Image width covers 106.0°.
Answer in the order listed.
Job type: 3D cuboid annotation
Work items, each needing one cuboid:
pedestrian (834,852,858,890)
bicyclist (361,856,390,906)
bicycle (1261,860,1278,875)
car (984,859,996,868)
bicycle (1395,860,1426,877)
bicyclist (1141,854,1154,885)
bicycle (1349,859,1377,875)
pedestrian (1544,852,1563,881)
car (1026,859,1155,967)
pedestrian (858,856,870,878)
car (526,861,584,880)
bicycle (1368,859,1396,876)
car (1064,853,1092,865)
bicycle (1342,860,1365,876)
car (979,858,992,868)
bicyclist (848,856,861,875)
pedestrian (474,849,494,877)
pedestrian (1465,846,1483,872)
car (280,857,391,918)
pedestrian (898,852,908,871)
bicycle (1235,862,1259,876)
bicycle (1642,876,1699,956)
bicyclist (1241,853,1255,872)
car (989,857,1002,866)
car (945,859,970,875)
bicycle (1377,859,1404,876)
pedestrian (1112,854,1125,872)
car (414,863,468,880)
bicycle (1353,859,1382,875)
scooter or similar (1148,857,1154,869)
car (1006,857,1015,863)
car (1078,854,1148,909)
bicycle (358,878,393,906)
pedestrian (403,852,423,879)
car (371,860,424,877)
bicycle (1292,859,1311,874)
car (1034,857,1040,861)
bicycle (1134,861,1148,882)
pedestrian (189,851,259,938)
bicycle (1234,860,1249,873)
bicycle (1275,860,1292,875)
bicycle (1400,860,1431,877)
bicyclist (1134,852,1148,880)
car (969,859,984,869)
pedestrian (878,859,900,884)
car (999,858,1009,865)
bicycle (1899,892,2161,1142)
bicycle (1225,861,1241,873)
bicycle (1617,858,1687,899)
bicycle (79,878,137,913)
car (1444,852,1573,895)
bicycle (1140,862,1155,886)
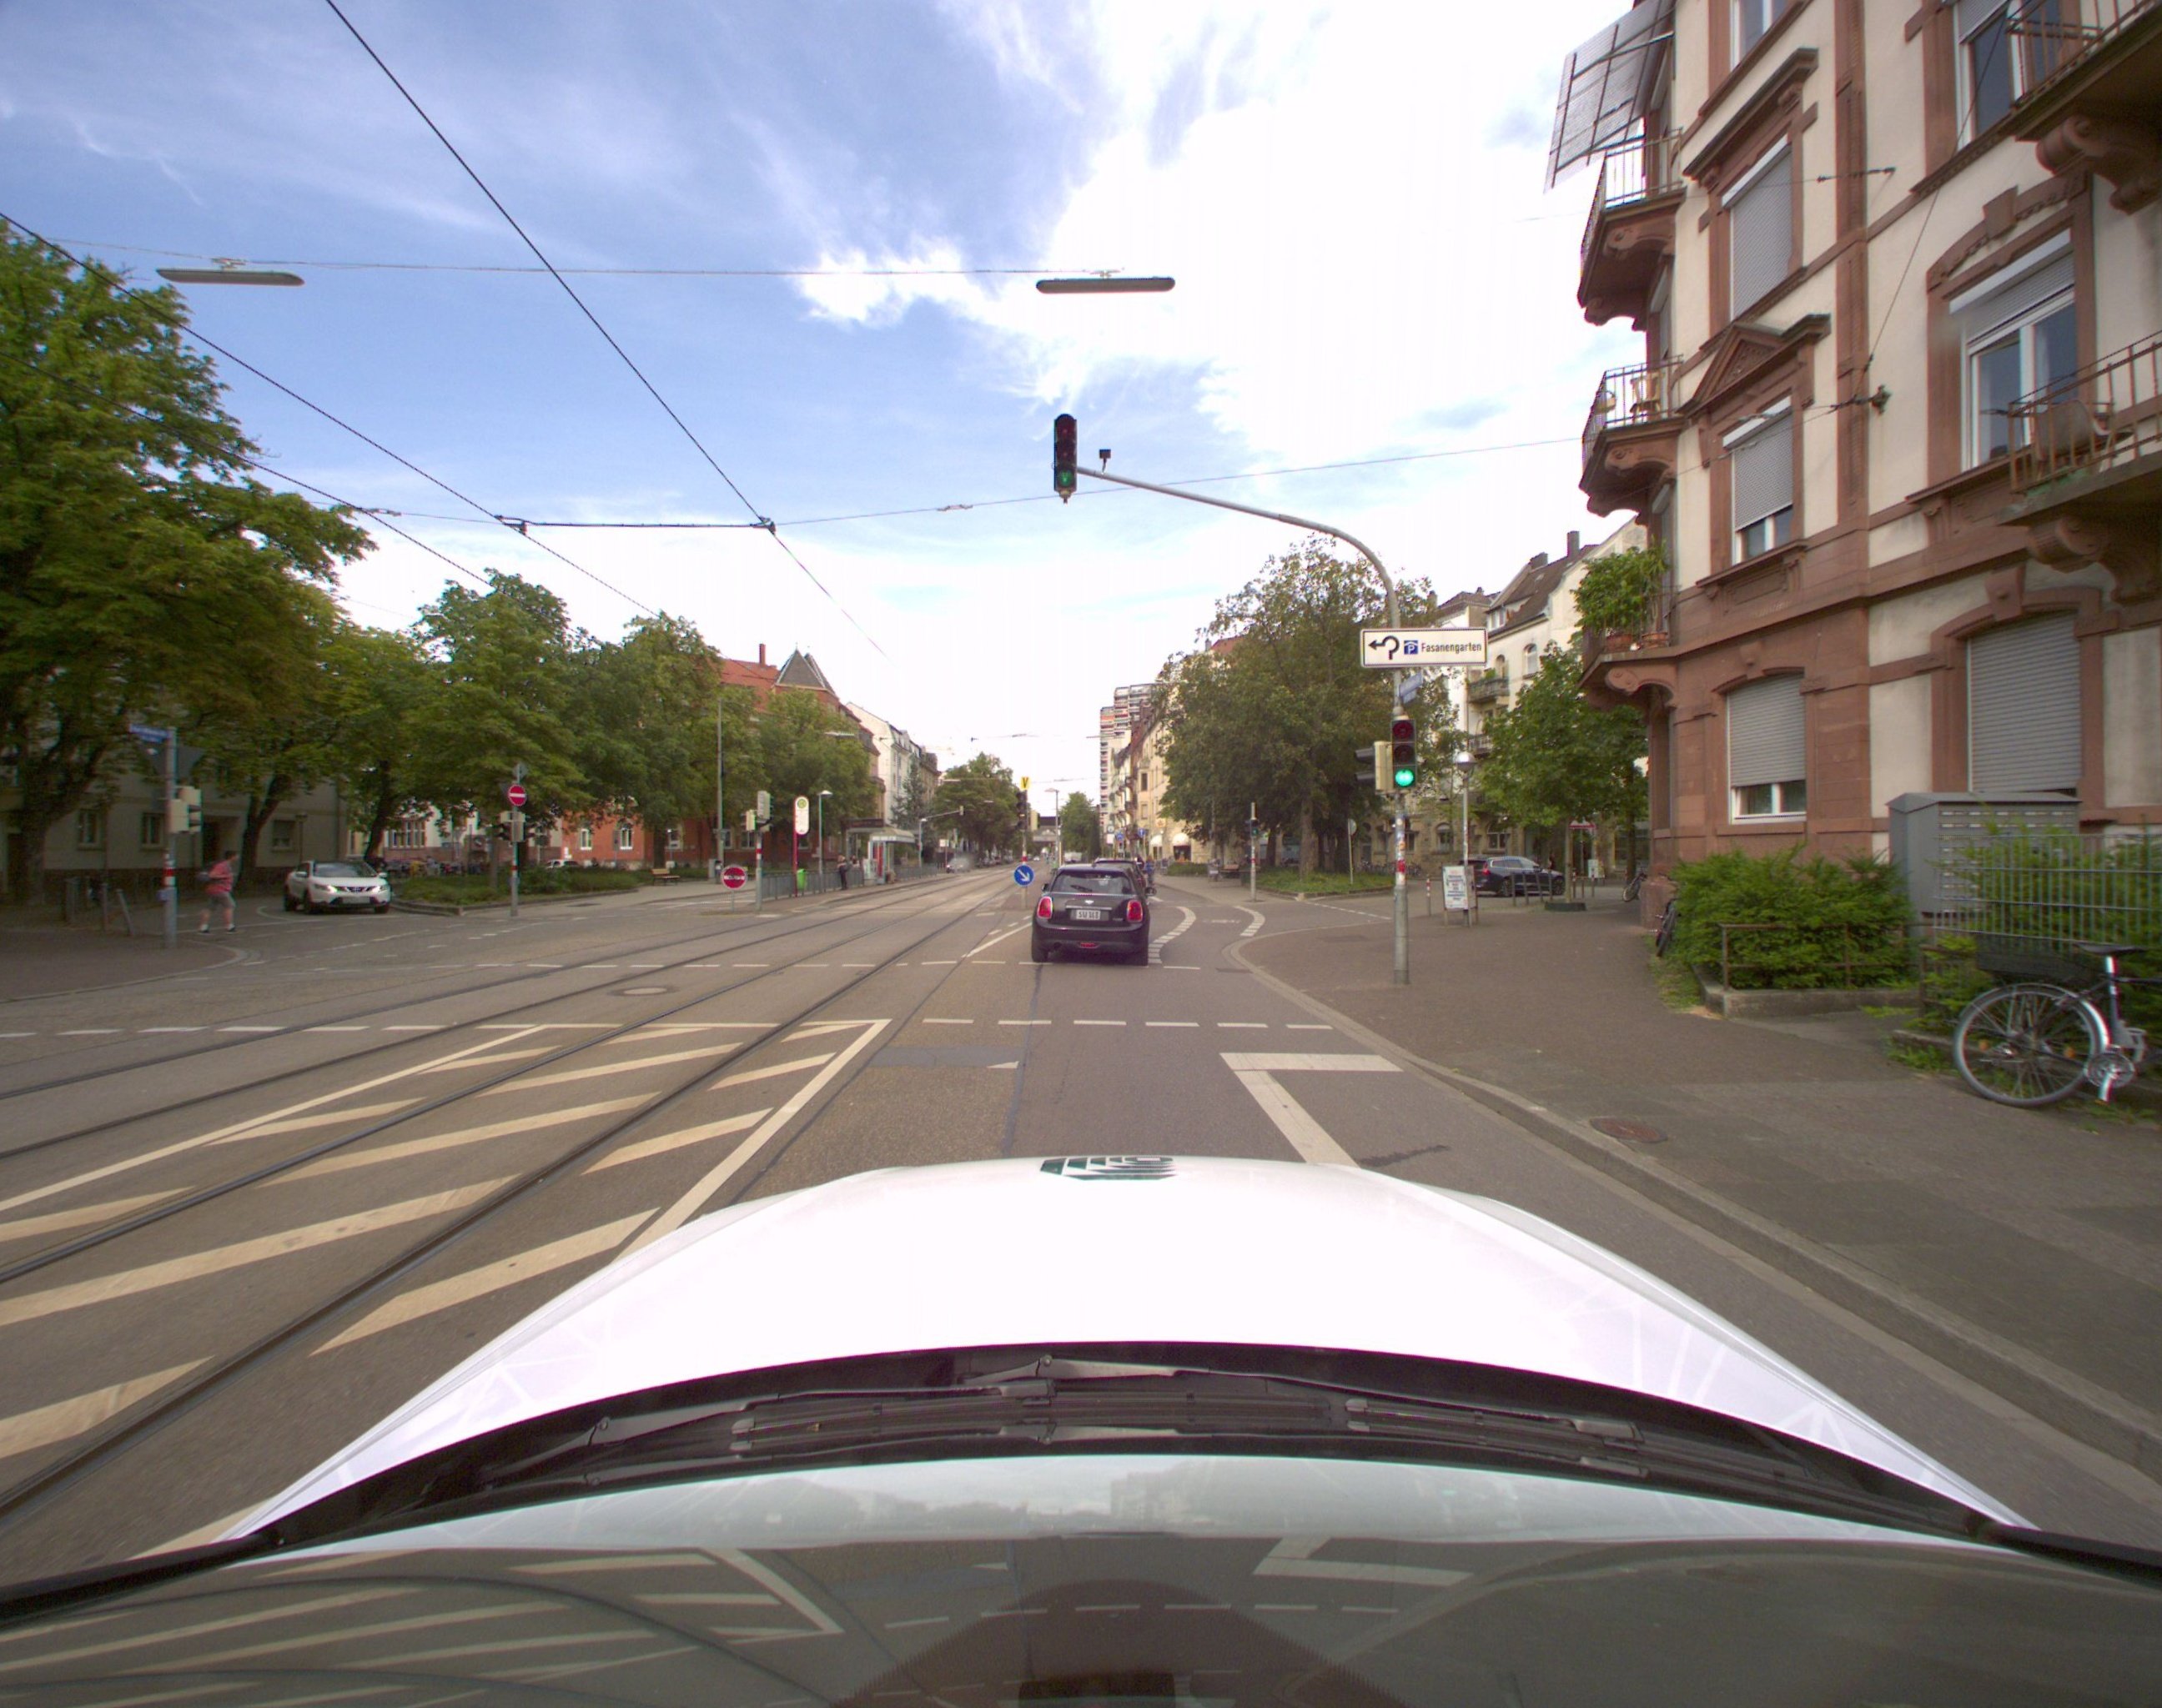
[{"bbox_3d":[-10.276,0.744,35.591,0.851,1.621,0.841,-1,-1,-7],"label":"pedestrian"},{"bbox_3d":[-25.483,0.954,29.436,0.614,1.775,0.902,-1,0,-29],"label":"bicyclist"},{"bbox_3d":[15.135,1.071,65.387,0.526,1.128,1.905,-1,0,41],"label":"bicycle"},{"bbox_3d":[-14.892,1.526,133.541,1.762,1.395,3.997,-1,0,-2],"label":"car"},{"bbox_3d":[22.214,0.970,54.927,1.884,1.128,0.532,-1,0,-5],"label":"bicycle"},{"bbox_3d":[3.486,0.803,42.689,0.593,1.550,1.013,-1,0,-1],"label":"bicyclist"},{"bbox_3d":[20.444,0.961,59.080,1.888,1.128,0.561,0,0,-10],"label":"bicycle"},{"bbox_3d":[26.777,0.682,46.159,0.826,1.623,0.736,-1,0,18],"label":"pedestrian"},{"bbox_3d":[0.288,0.816,13.177,1.744,1.441,4.005,1,0,4],"label":"car"},{"bbox_3d":[-17.455,1.052,65.475,0.832,1.703,0.731,-1,0,-7],"label":"pedestrian"},{"bbox_3d":[-41.419,1.303,64.151,3.953,1.478,1.825,-1,0,21],"label":"car"},{"bbox_3d":[21.213,0.949,57.454,1.893,1.128,0.579,0,0,-19],"label":"bicycle"},{"bbox_3d":[-0.599,0.974,158.605,5.067,2.272,2.368,0,0,-42],"label":"car"},{"bbox_3d":[20.020,1.004,59.778,1.900,1.128,0.527,-2,0,-32],"label":"bicycle"},{"bbox_3d":[-14.753,1.391,125.873,1.762,1.395,3.997,-1,0,-2],"label":"car"},{"bbox_3d":[-16.131,0.786,57.941,0.659,1.339,0.835,-1,-1,-1],"label":"bicyclist"},{"bbox_3d":[-38.407,0.563,52.376,0.745,1.754,0.736,-1,0,17],"label":"pedestrian"},{"bbox_3d":[25.294,0.311,52.422,0.730,1.676,0.833,0,0,-8],"label":"pedestrian"},{"bbox_3d":[-22.859,1.039,24.939,4.105,1.721,1.852,-3,-3,38],"label":"car"},{"bbox_3d":[-17.289,0.747,79.077,0.728,1.783,0.835,-1,0,-1],"label":"pedestrian"},{"bbox_3d":[13.089,1.202,64.267,1.798,1.076,0.620,-1,0,44],"label":"bicycle"},{"bbox_3d":[8.125,0.817,11.262,0.503,0.969,1.560,-1,0,31],"label":"bicycle"},{"bbox_3d":[13.154,0.637,64.202,0.904,1.473,0.620,-1,0,44],"label":"bicyclist"},{"bbox_3d":[-16.059,1.380,152.551,1.988,1.552,3.998,-1,0,-1],"label":"car"},{"bbox_3d":[-12.121,1.272,80.151,1.746,1.441,4.000,1,0,0],"label":"car"},{"bbox_3d":[21.529,0.946,56.705,1.896,1.128,0.590,0,0,-24],"label":"bicycle"},{"bbox_3d":[3.621,0.899,78.418,0.723,1.674,0.840,-4,0,45],"label":"pedestrian"},{"bbox_3d":[-53.778,1.440,68.448,3.953,1.395,1.825,-1,0,21],"label":"car"},{"bbox_3d":[20.596,0.956,58.499,1.888,1.128,0.596,0,0,-10],"label":"bicycle"},{"bbox_3d":[7.507,0.975,87.453,0.507,1.188,1.261,-1,0,-1],"label":"scooter or similar"},{"bbox_3d":[-16.571,1.427,191.736,1.988,1.552,3.998,-1,0,-1],"label":"car"},{"bbox_3d":[0.913,0.767,24.433,1.920,1.510,4.000,-1,0,1],"label":"car"},{"bbox_3d":[-25.471,1.350,29.422,0.610,0.936,1.562,-1,0,-29],"label":"bicycle"},{"bbox_3d":[-44.087,0.761,53.747,0.724,1.754,0.687,-1,0,19],"label":"pedestrian"},{"bbox_3d":[-58.953,1.227,70.254,3.953,1.395,1.825,-1,0,21],"label":"car"},{"bbox_3d":[17.136,0.990,63.387,0.659,1.128,1.905,-1,0,41],"label":"bicycle"},{"bbox_3d":[-14.030,1.574,258.999,1.762,1.395,3.997,-1,0,-2],"label":"car"},{"bbox_3d":[3.433,1.013,46.652,0.681,1.170,1.697,-1,0,1],"label":"bicycle"},{"bbox_3d":[-19.352,0.892,18.392,0.725,1.900,0.839,-1,0,17],"label":"pedestrian"},{"bbox_3d":[13.322,1.068,67.567,0.444,1.055,1.659,-1,0,41],"label":"bicycle"},{"bbox_3d":[16.069,1.054,64.574,0.526,1.128,1.905,-1,0,41],"label":"bicycle"},{"bbox_3d":[22.307,0.942,54.345,1.884,1.128,0.532,-1,0,-5],"label":"bicycle"},{"bbox_3d":[3.434,0.666,46.649,0.681,1.564,0.998,-1,0,1],"label":"bicyclist"},{"bbox_3d":[-14.597,1.347,113.853,1.762,1.395,3.997,-1,0,-2],"label":"car"},{"bbox_3d":[-10.265,0.937,43.564,1.057,1.294,0.984,-1,-1,-7],"label":"pedestrian"},{"bbox_3d":[-16.572,1.577,175.501,1.988,1.552,3.998,-1,0,-1],"label":"car"},{"bbox_3d":[5.385,0.792,4.182,0.669,1.106,1.671,-1,0,-1],"label":"bicycle"},{"bbox_3d":[12.822,1.079,68.700,0.595,0.972,1.683,-1,0,36],"label":"bicycle"},{"bbox_3d":[16.373,0.691,23.351,1.667,1.144,0.671,-1,0,-11],"label":"bicycle"},{"bbox_3d":[-30.560,1.287,25.615,0.496,1.009,1.824,0,0,-27],"label":"bicycle"},{"bbox_3d":[15.592,0.681,29.697,4.483,1.441,1.744,0,0,-23],"label":"car"},{"bbox_3d":[3.483,1.041,42.690,0.596,1.170,1.696,-1,0,-1],"label":"bicycle"}]
